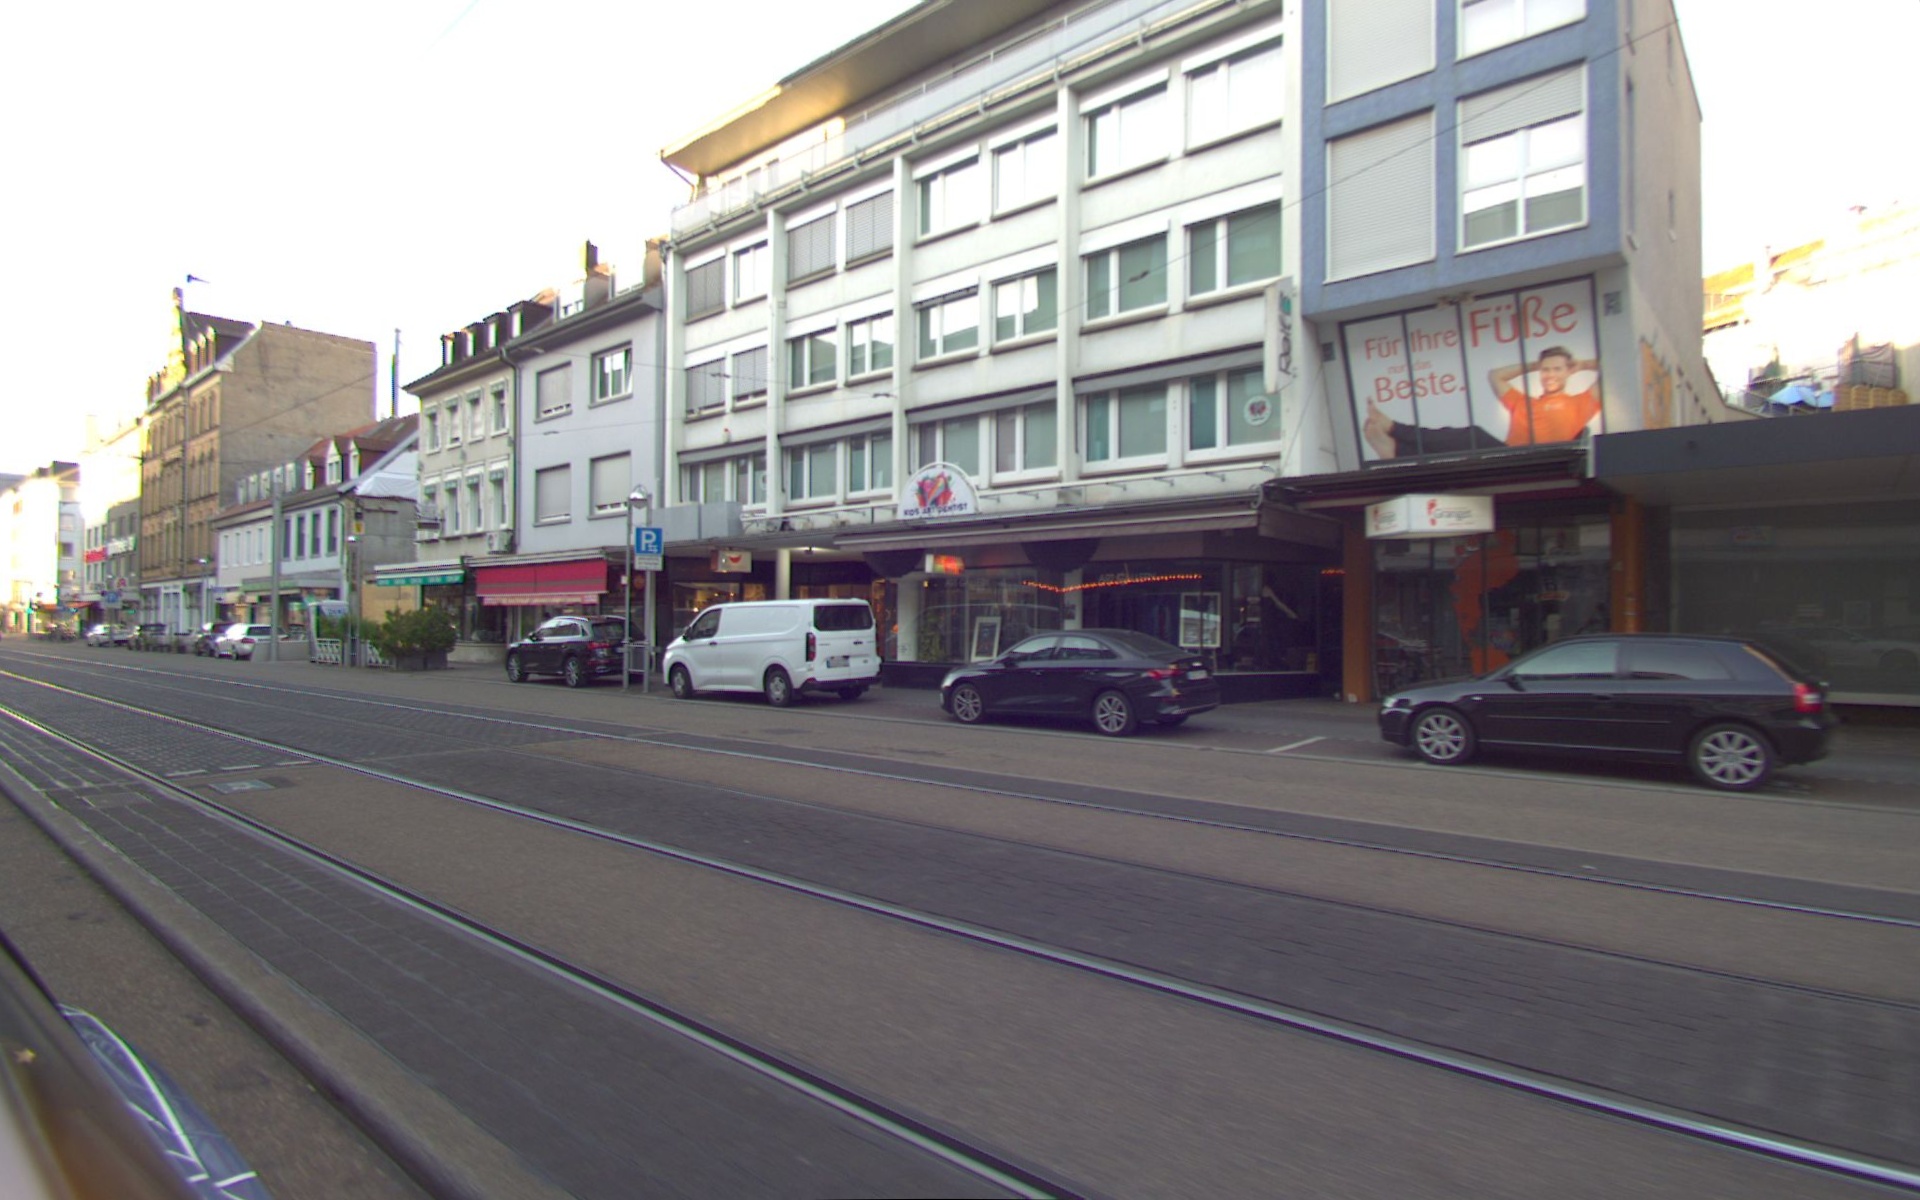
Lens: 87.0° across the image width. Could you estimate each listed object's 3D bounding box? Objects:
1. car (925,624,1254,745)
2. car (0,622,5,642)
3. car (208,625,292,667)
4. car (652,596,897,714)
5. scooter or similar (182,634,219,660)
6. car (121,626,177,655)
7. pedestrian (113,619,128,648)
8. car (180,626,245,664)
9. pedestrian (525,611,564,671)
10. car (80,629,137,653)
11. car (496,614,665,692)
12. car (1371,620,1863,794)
[{"bbox_3d":[1.784,1.115,14.957,4.569,1.437,1.852,-1,0,41],"label":"car"},{"bbox_3d":[-78.812,2.627,81.729,3.997,1.574,1.973,-1,0,40],"label":"car"},{"bbox_3d":[-29.908,1.898,42.575,4.621,1.568,1.871,-1,0,41],"label":"car"},{"bbox_3d":[-3.761,0.977,19.901,5.096,2.029,1.944,-1,0,40],"label":"car"},{"bbox_3d":[-35.897,2.212,47.855,0.311,1.177,1.347,-1,0,43],"label":"scooter or similar"},{"bbox_3d":[-45.175,2.214,56.331,3.814,1.504,1.822,-1,0,41],"label":"car"},{"bbox_3d":[-60.167,2.399,72.499,0.738,2.029,1.049,-1,0,-45],"label":"pedestrian"},{"bbox_3d":[-33.804,2.008,45.740,3.469,1.582,1.638,-1,0,41],"label":"car"},{"bbox_3d":[-12.789,1.253,31.171,0.818,1.795,0.809,-1,0,41],"label":"pedestrian"},{"bbox_3d":[-54.278,2.585,64.486,4.399,1.431,1.974,-1,0,39],"label":"car"},{"bbox_3d":[-9.463,1.238,25.063,4.586,1.710,1.973,-1,0,41],"label":"car"},{"bbox_3d":[6.714,0.965,10.628,4.090,1.472,1.771,-1,-2,42],"label":"car"}]
